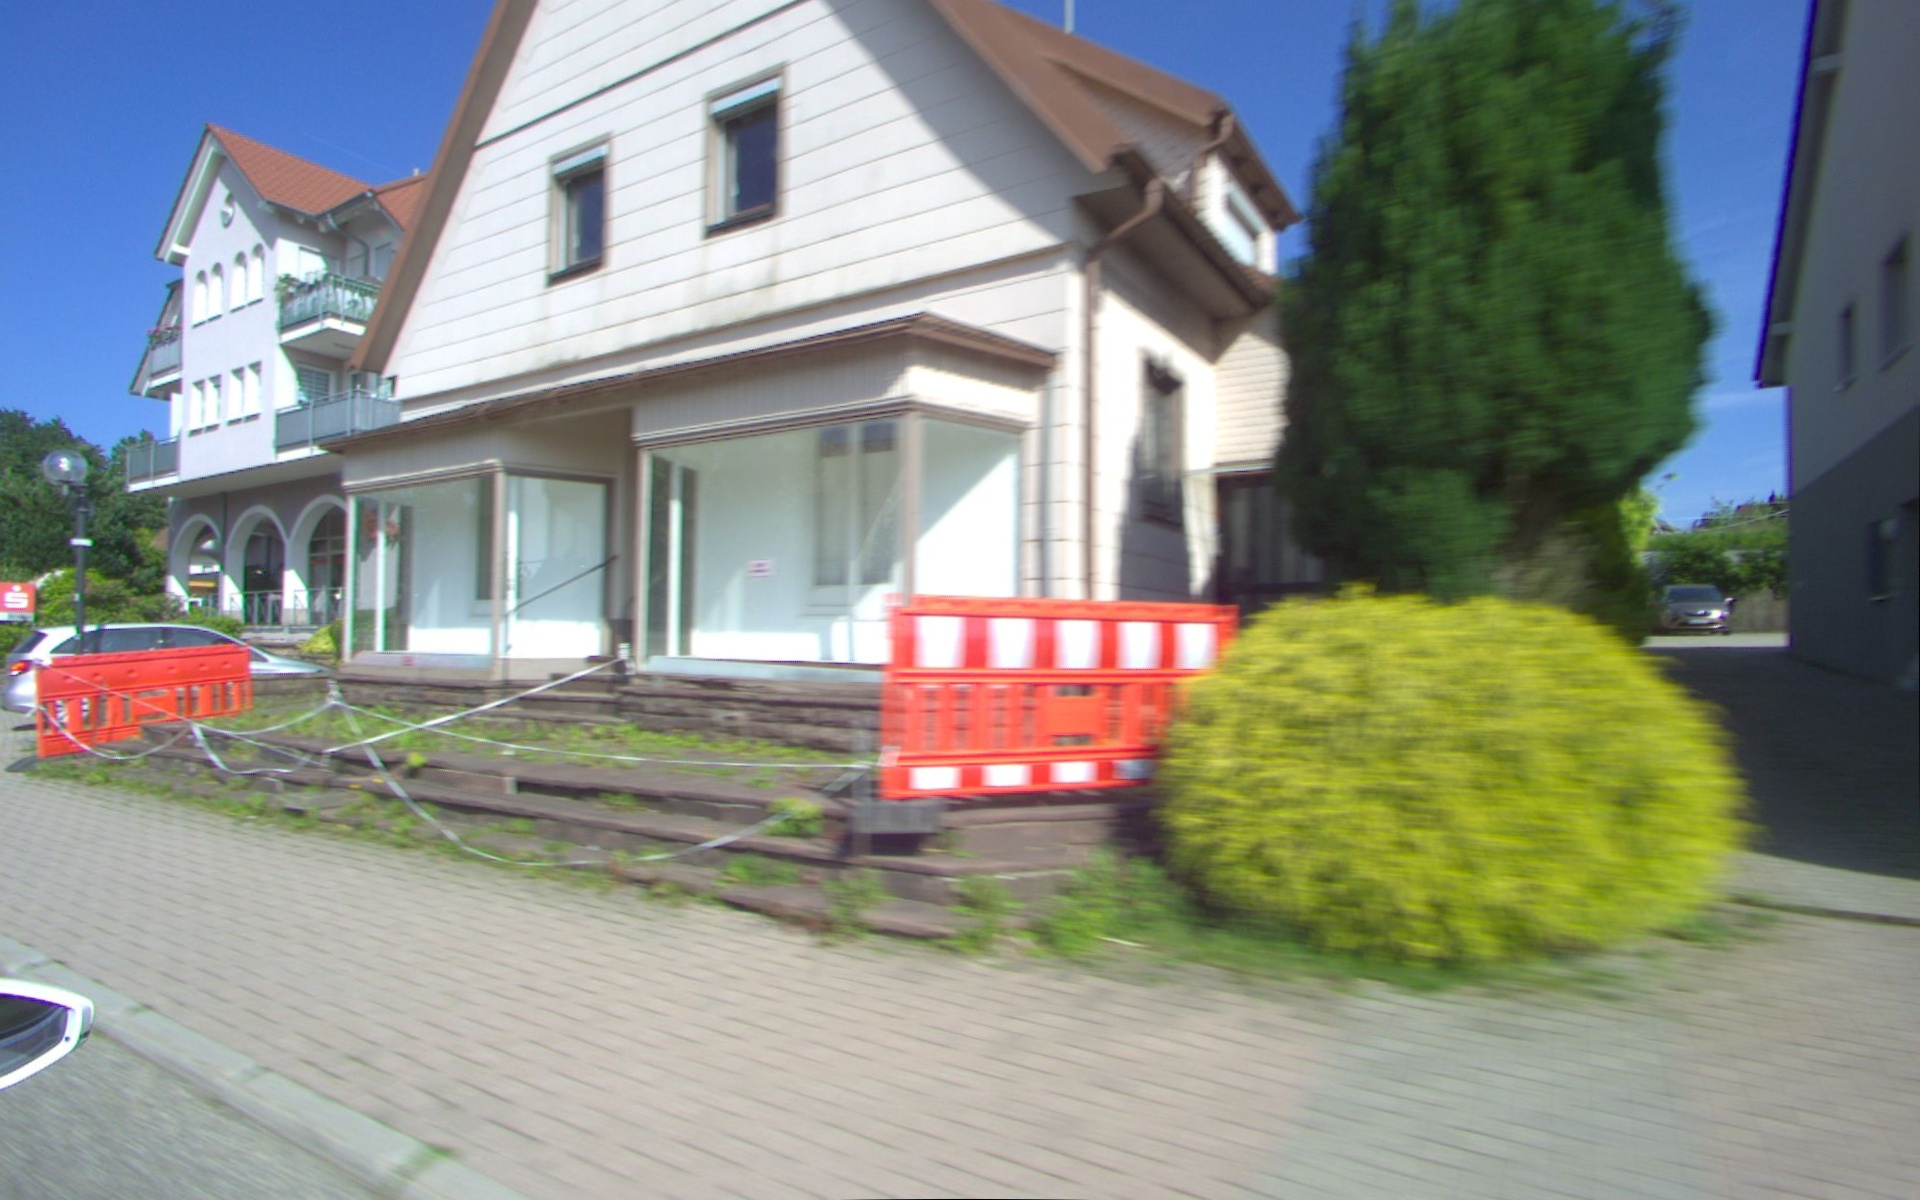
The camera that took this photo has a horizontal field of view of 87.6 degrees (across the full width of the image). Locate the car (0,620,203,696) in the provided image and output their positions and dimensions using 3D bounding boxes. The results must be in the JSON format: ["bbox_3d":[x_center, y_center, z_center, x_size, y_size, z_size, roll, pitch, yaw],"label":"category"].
[{"bbox_3d":[-20.060,1.260,22.941,1.856,1.568,3.976,-1,-1,35],"label":"car"}]

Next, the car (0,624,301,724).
[{"bbox_3d":[-14.229,1.262,17.746,1.719,1.568,3.967,-1,-3,43],"label":"car"}]

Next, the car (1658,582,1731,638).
[{"bbox_3d":[23.328,0.334,31.907,1.726,1.679,3.840,-1,-1,35],"label":"car"}]

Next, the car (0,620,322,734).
[{"bbox_3d":[-12.569,1.110,15.872,3.838,1.578,1.943,1,-2,-45],"label":"car"}]
